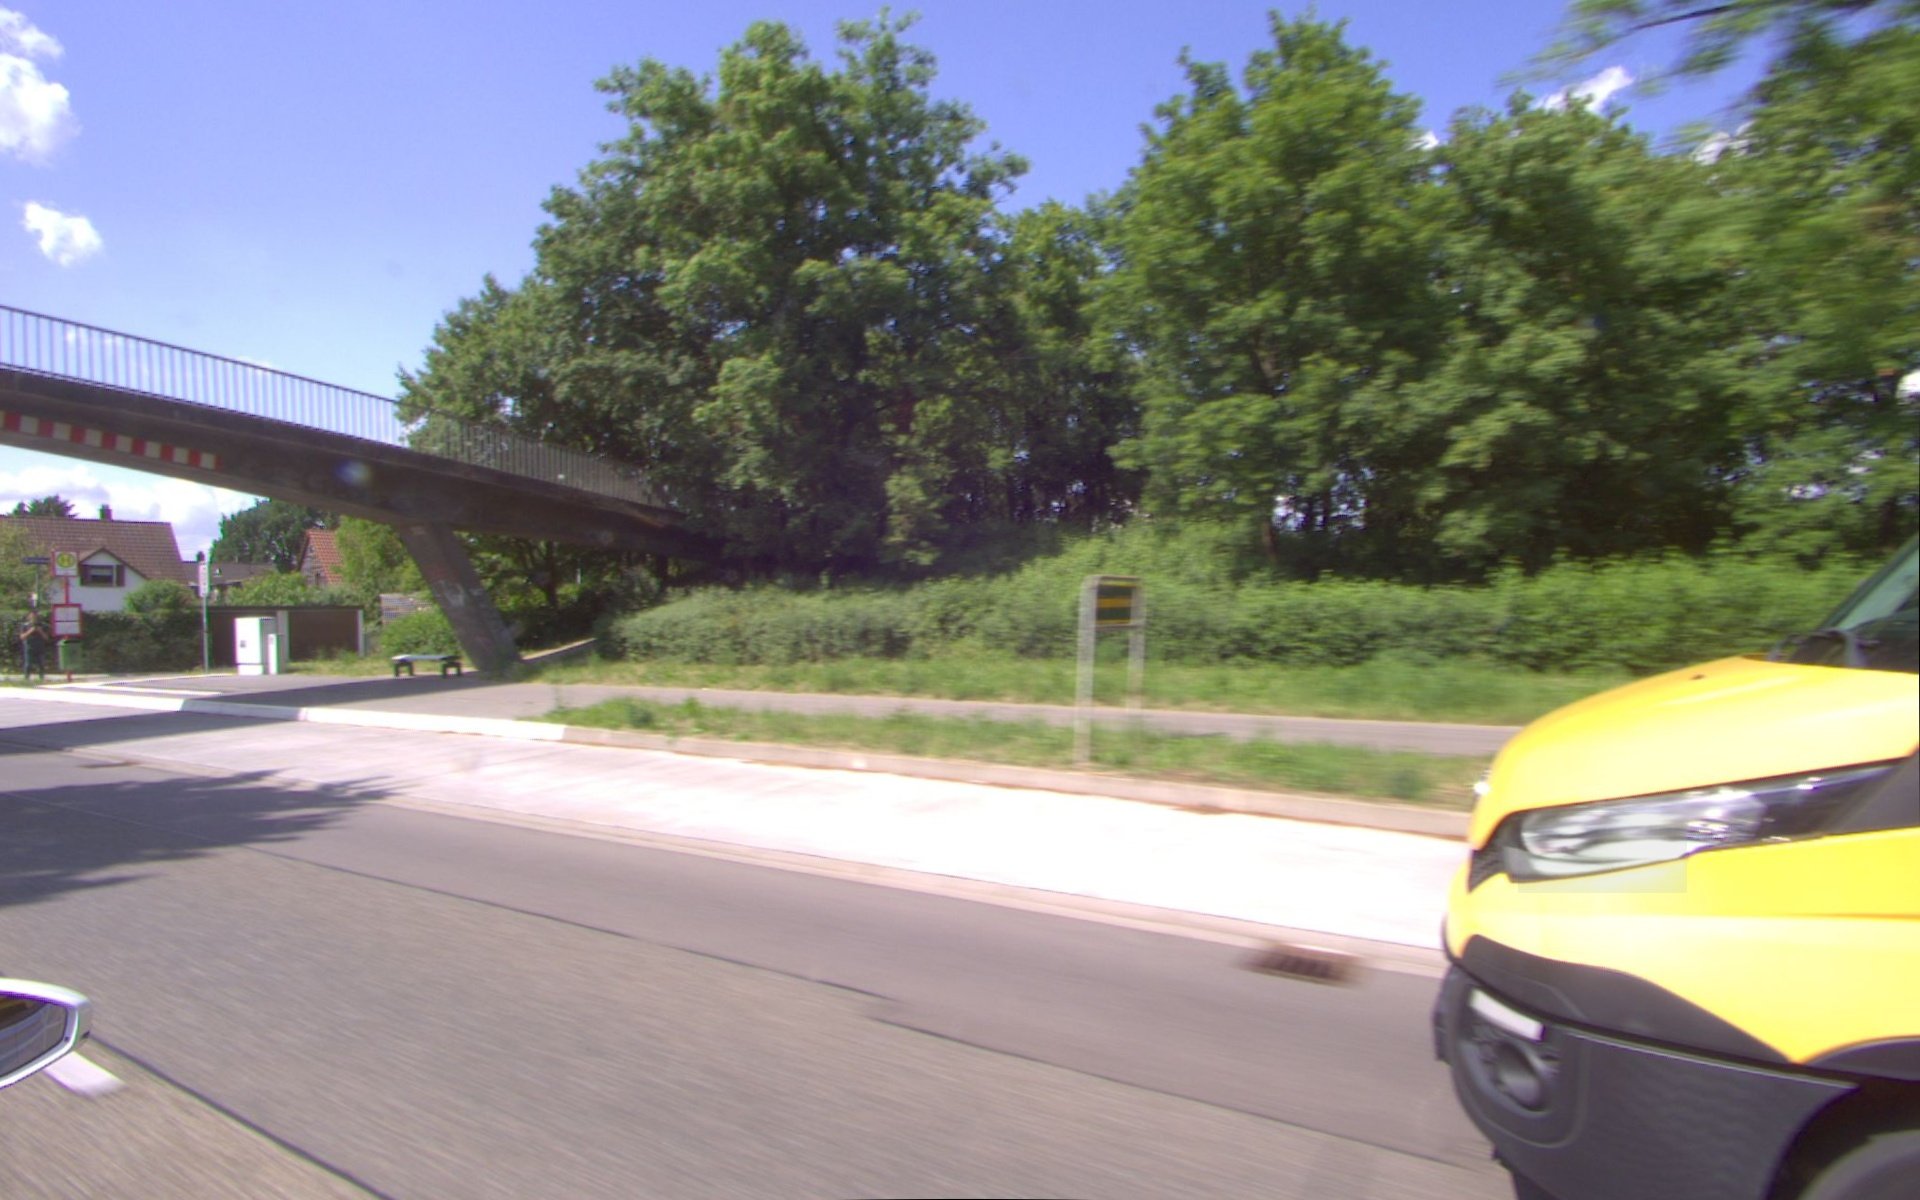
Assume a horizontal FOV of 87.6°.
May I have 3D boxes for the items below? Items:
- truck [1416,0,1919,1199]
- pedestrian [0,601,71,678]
[{"bbox_3d":[4.789,-0.006,0.713,7.914,2.917,2.261,-1,-2,33],"label":"truck"},{"bbox_3d":[-23.318,1.000,25.253,1.072,1.848,0.953,-4,0,29],"label":"pedestrian"}]
